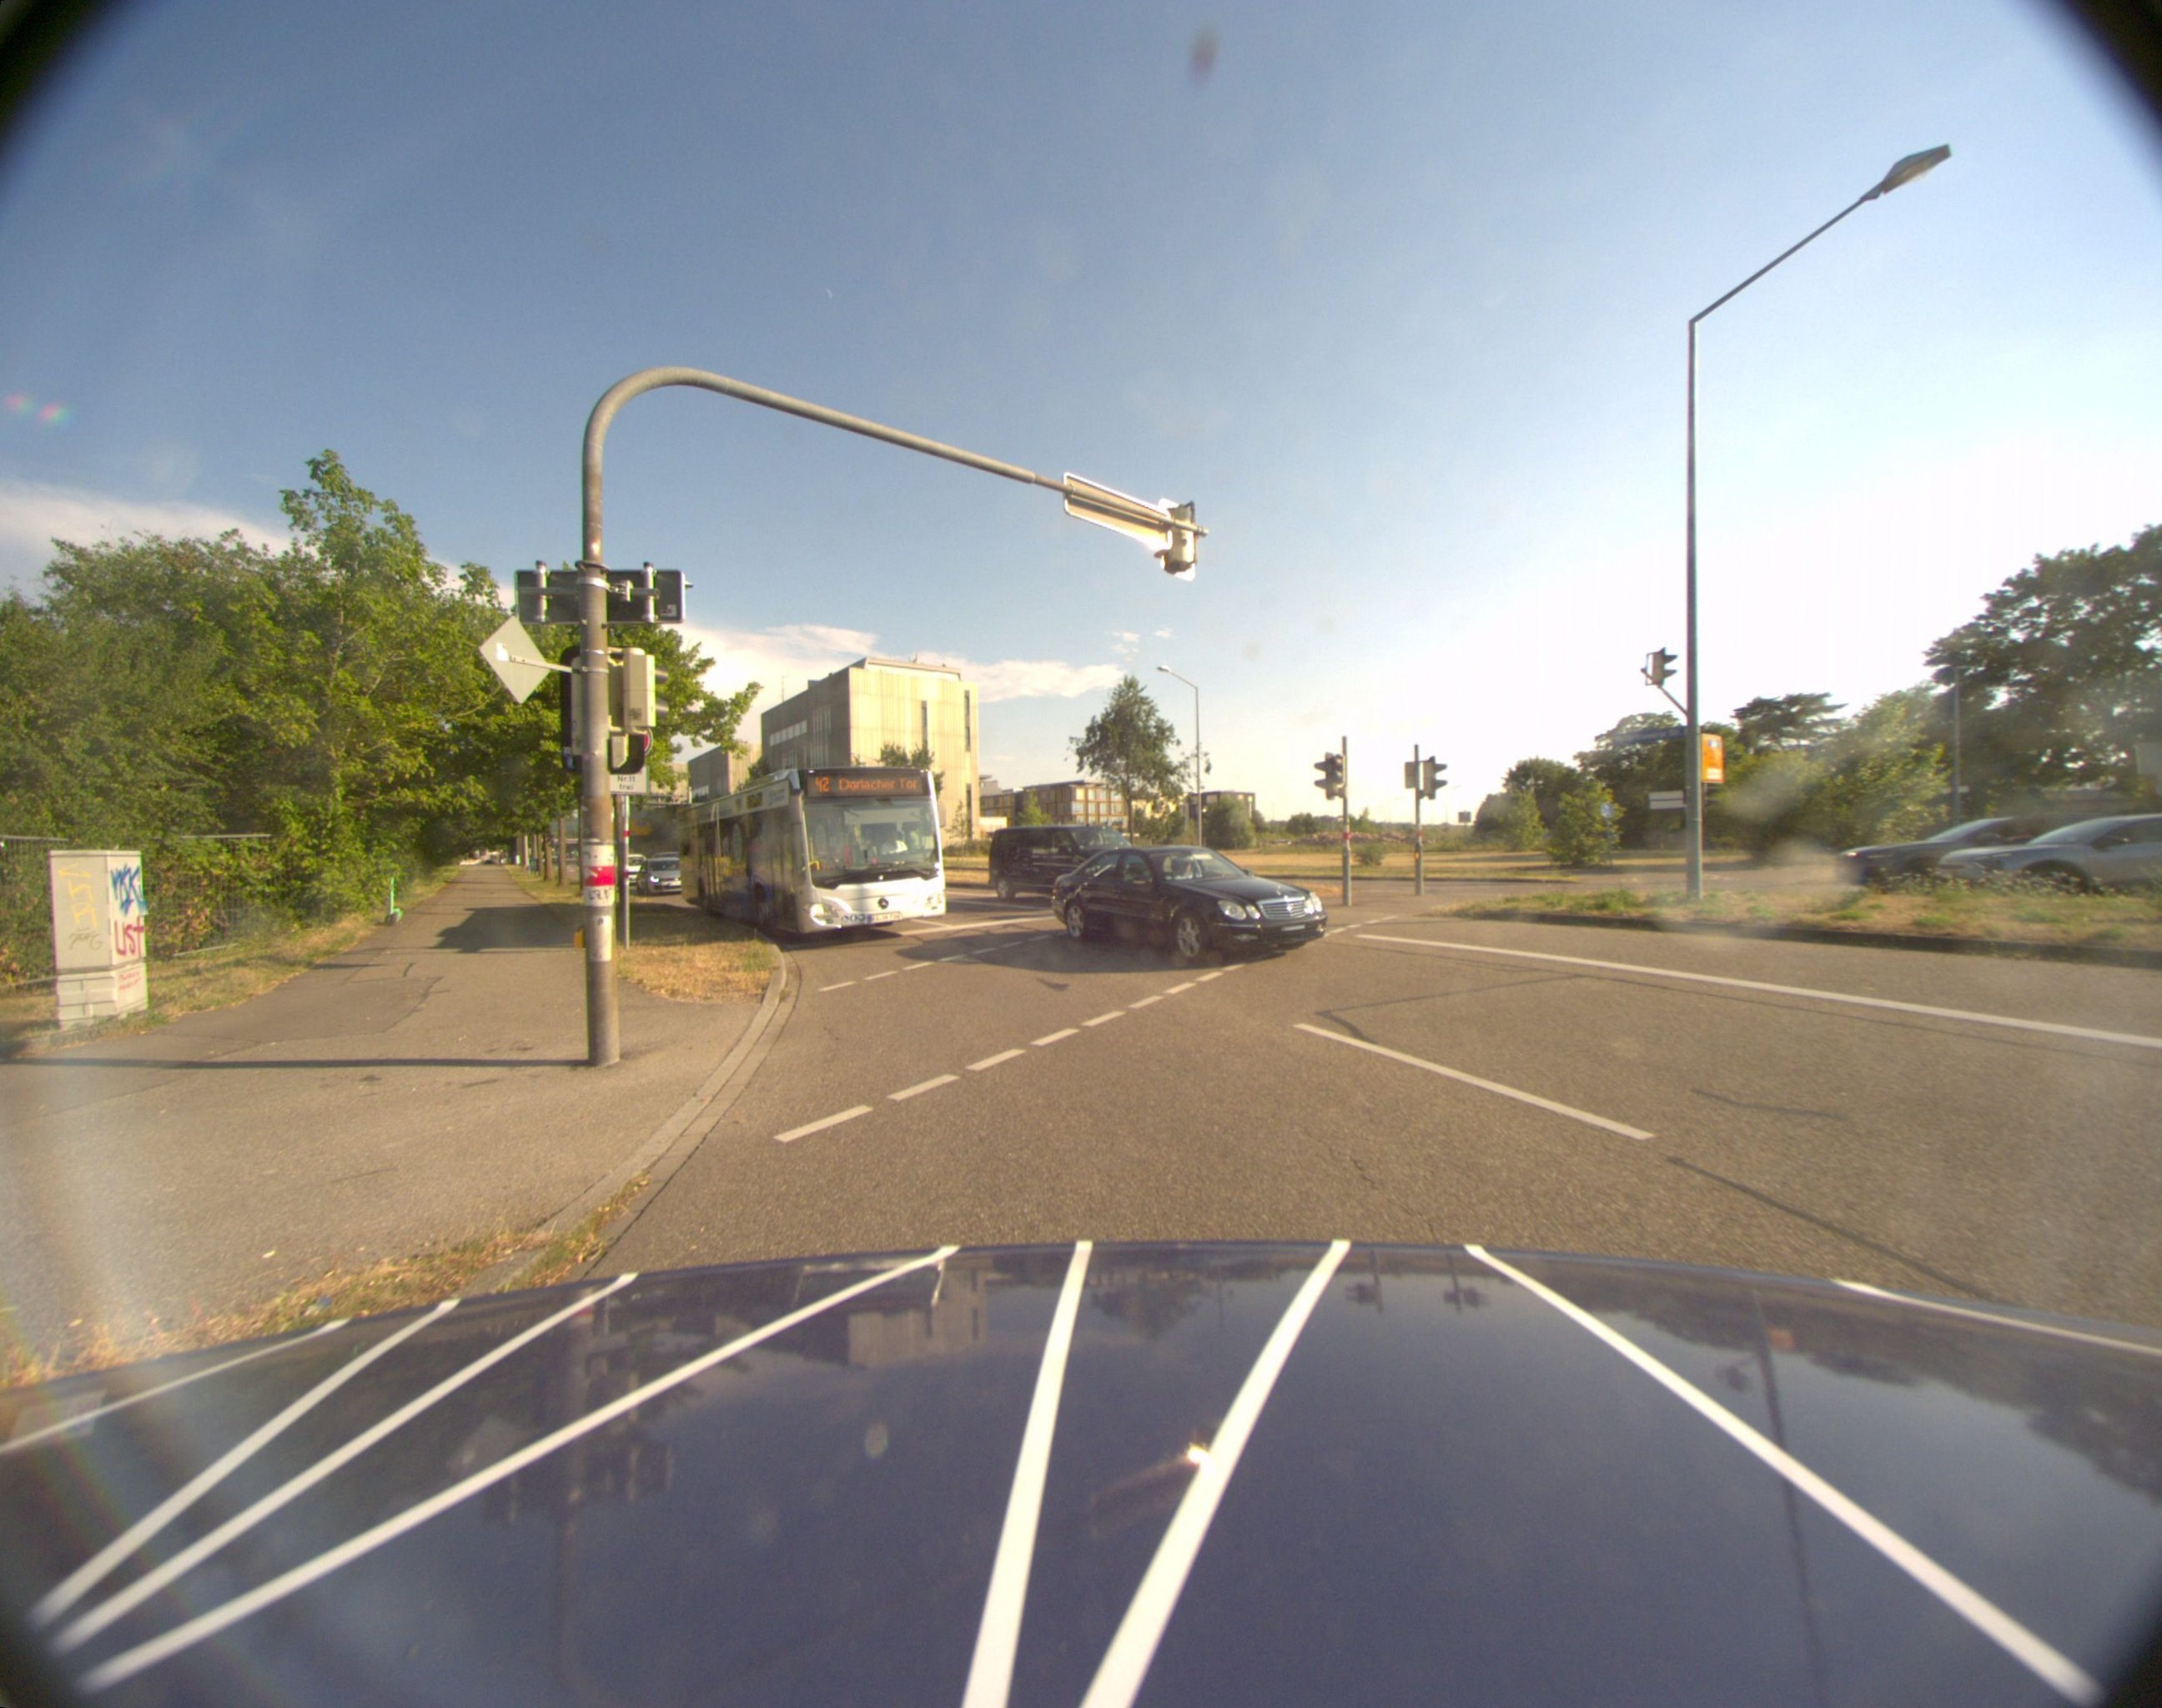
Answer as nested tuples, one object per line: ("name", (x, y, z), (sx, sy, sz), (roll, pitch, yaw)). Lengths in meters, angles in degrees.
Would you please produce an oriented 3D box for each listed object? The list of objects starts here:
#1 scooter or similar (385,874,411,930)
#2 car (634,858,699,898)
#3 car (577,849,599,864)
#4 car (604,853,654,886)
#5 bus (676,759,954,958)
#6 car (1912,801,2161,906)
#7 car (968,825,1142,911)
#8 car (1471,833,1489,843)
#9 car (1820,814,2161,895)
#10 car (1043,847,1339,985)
("scooter or similar", (-14.404, 0.990, 16.034), (0.250, 1.119, 1.092), (1, 0, -33))
("car", (-16.579, 0.905, 30.311), (1.588, 1.415, 3.617), (-2, 1, -40))
("car", (-53.600, 0.255, 82.578), (1.588, 1.553, 3.617), (-2, 1, -40))
("car", (-23.086, 0.742, 38.763), (1.588, 1.553, 3.617), (-2, 1, -40))
("bus", (-6.689, 0.015, 17.024), (2.601, 3.026, 11.688), (-4, 2, -35))
("car", (17.487, -0.024, 12.914), (4.189, 1.664, 1.779), (-1, 1, 24))
("car", (-0.828, 0.288, 19.821), (1.865, 1.921, 4.999), (-4, 3, -38))
("car", (56.829, -2.261, 108.229), (1.335, 1.284, 2.805), (-1, 1, 6))
("car", (18.870, 0.026, 15.883), (4.632, 1.504, 1.656), (-1, 0, 27))
("car", (1.260, 0.673, 10.768), (1.814, 1.429, 4.483), (-4, 2, -28))
